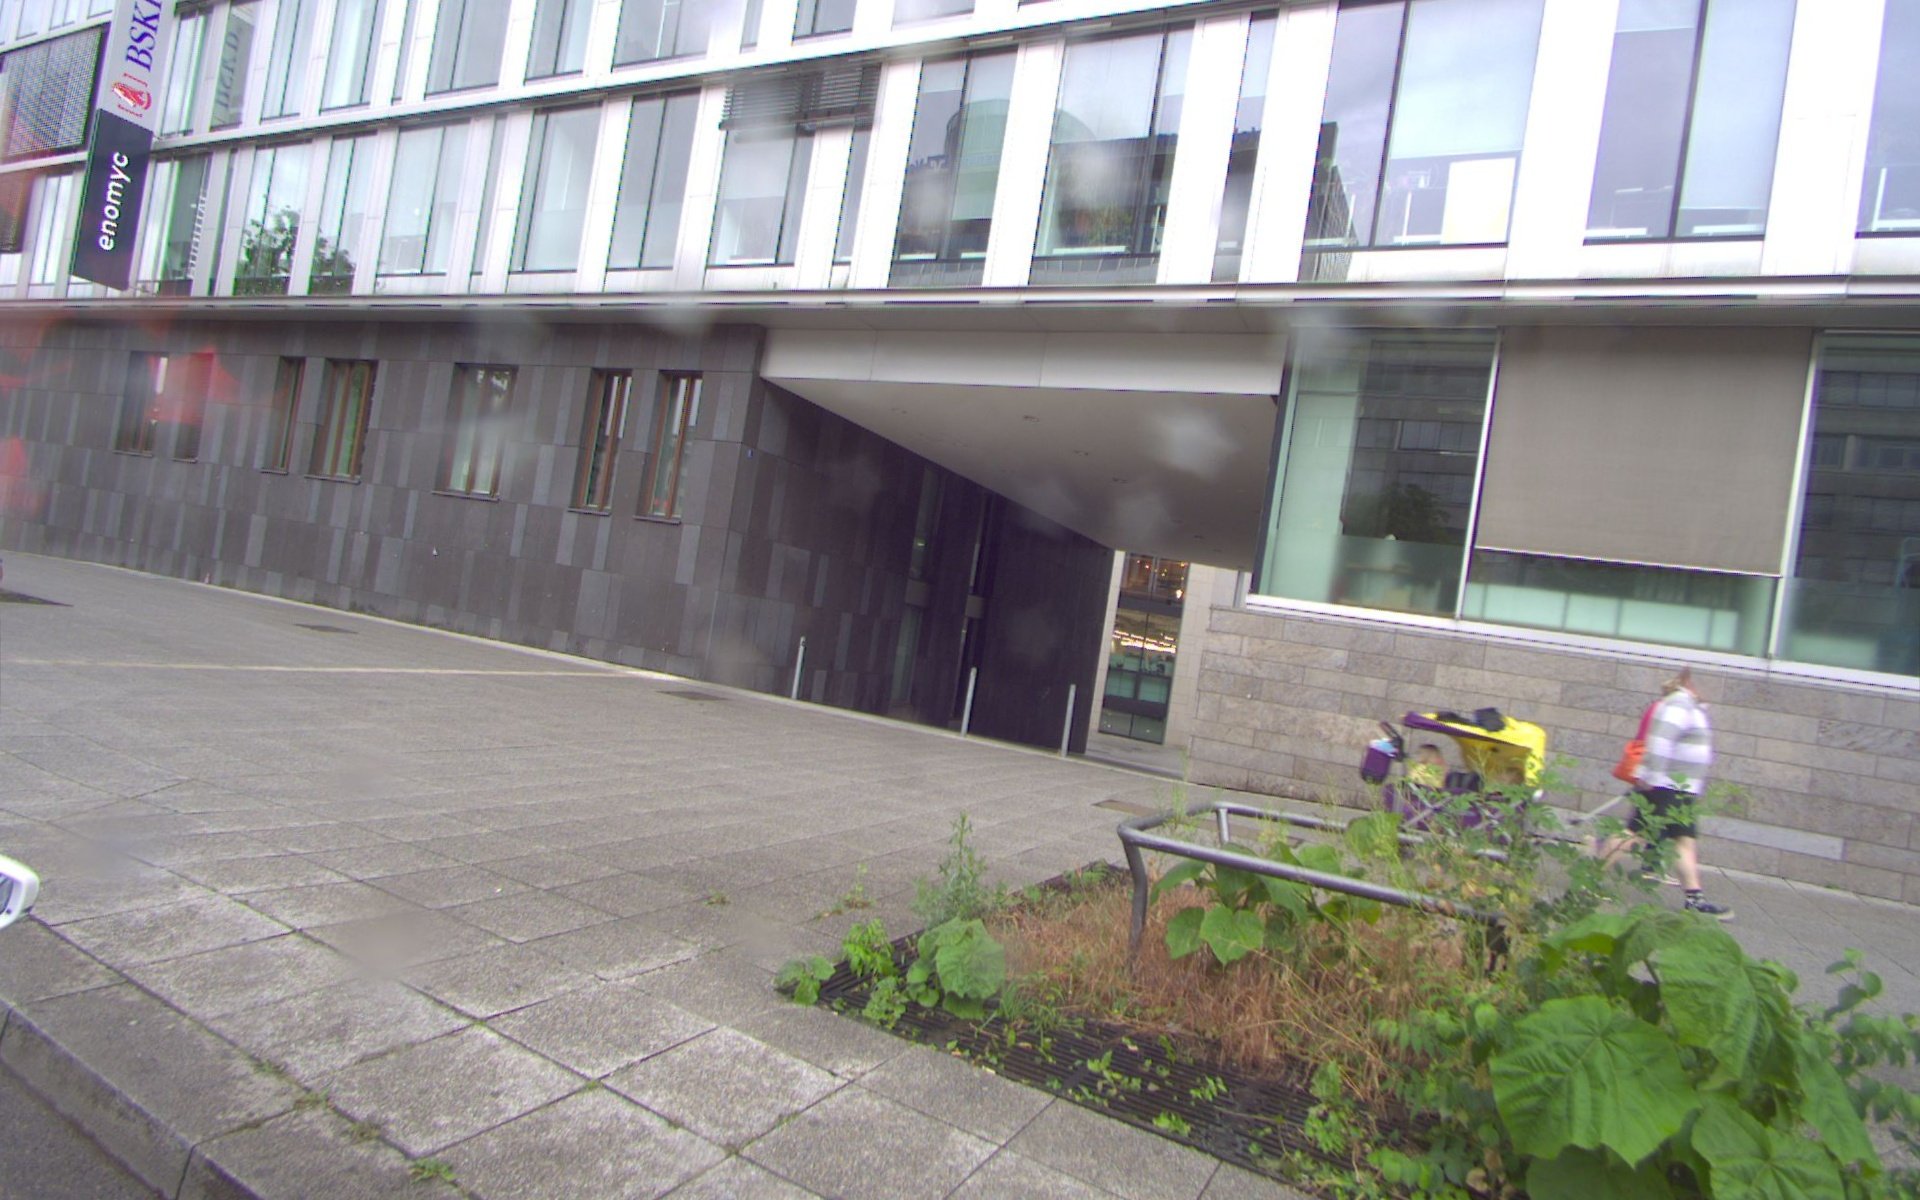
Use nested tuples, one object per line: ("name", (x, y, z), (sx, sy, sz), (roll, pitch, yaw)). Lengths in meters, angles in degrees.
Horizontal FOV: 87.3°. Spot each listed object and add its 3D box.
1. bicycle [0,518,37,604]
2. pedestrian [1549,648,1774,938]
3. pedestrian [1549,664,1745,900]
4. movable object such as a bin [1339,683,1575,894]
("bicycle", (-13.079, -0.632, 12.264), (0.665, 1.069, 2.543), (7, -2, 27))
("pedestrian", (5.031, 1.323, 7.320), (1.028, 1.814, 0.901), (7, 1, 26))
("pedestrian", (5.691, 1.460, 8.415), (1.080, 1.712, 0.719), (7, 1, 27))
("movable object such as a bin", (3.831, 1.404, 7.808), (1.419, 1.279, 0.733), (8, 0, 29))
